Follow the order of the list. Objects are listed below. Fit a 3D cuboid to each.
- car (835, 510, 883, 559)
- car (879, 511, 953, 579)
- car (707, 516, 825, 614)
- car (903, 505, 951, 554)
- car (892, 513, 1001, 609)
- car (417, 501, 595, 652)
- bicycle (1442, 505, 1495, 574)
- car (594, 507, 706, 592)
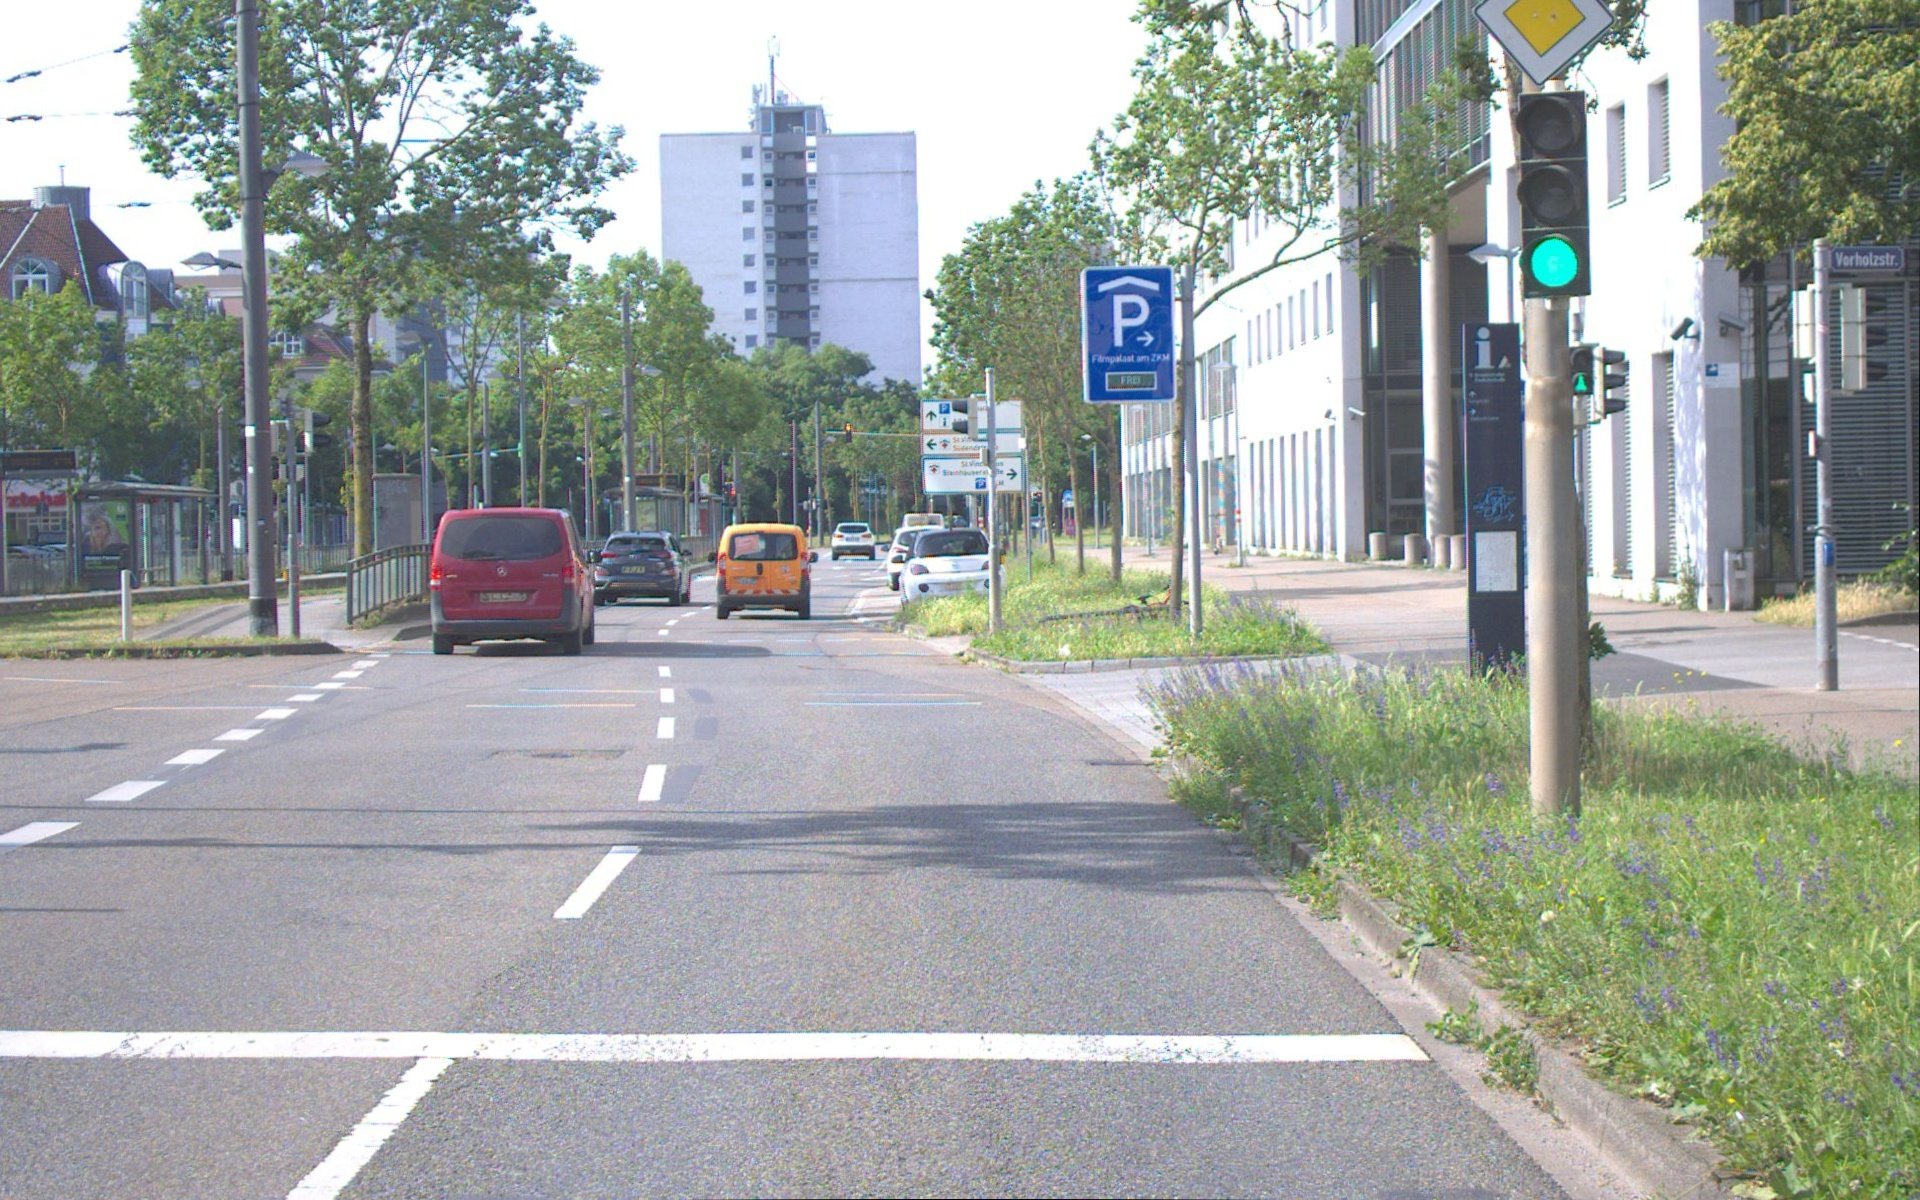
[{"bbox_3d":[-4.320,-2.798,146.680,1.993,2.007,4.001,-1,1,-2],"label":"car"},{"bbox_3d":[-1.062,-1.360,83.805,1.689,1.521,3.851,-3,1,0],"label":"car"},{"bbox_3d":[-3.463,-0.660,62.093,1.875,1.690,3.974,-1,1,0],"label":"car"},{"bbox_3d":[-1.414,-3.034,147.683,1.993,2.007,4.000,-1,1,-1],"label":"car"},{"bbox_3d":[-0.253,-0.671,57.612,1.720,1.514,3.781,-1,1,-1],"label":"car"},{"bbox_3d":[-5.837,-0.340,44.607,1.874,1.847,4.001,-1,1,-2],"label":"car"},{"bbox_3d":[8.294,-0.993,56.132,0.493,1.082,1.550,-3,1,-3],"label":"bicycle"},{"bbox_3d":[-6.492,-1.070,72.370,1.993,1.700,4.000,-1,1,-1],"label":"car"}]
